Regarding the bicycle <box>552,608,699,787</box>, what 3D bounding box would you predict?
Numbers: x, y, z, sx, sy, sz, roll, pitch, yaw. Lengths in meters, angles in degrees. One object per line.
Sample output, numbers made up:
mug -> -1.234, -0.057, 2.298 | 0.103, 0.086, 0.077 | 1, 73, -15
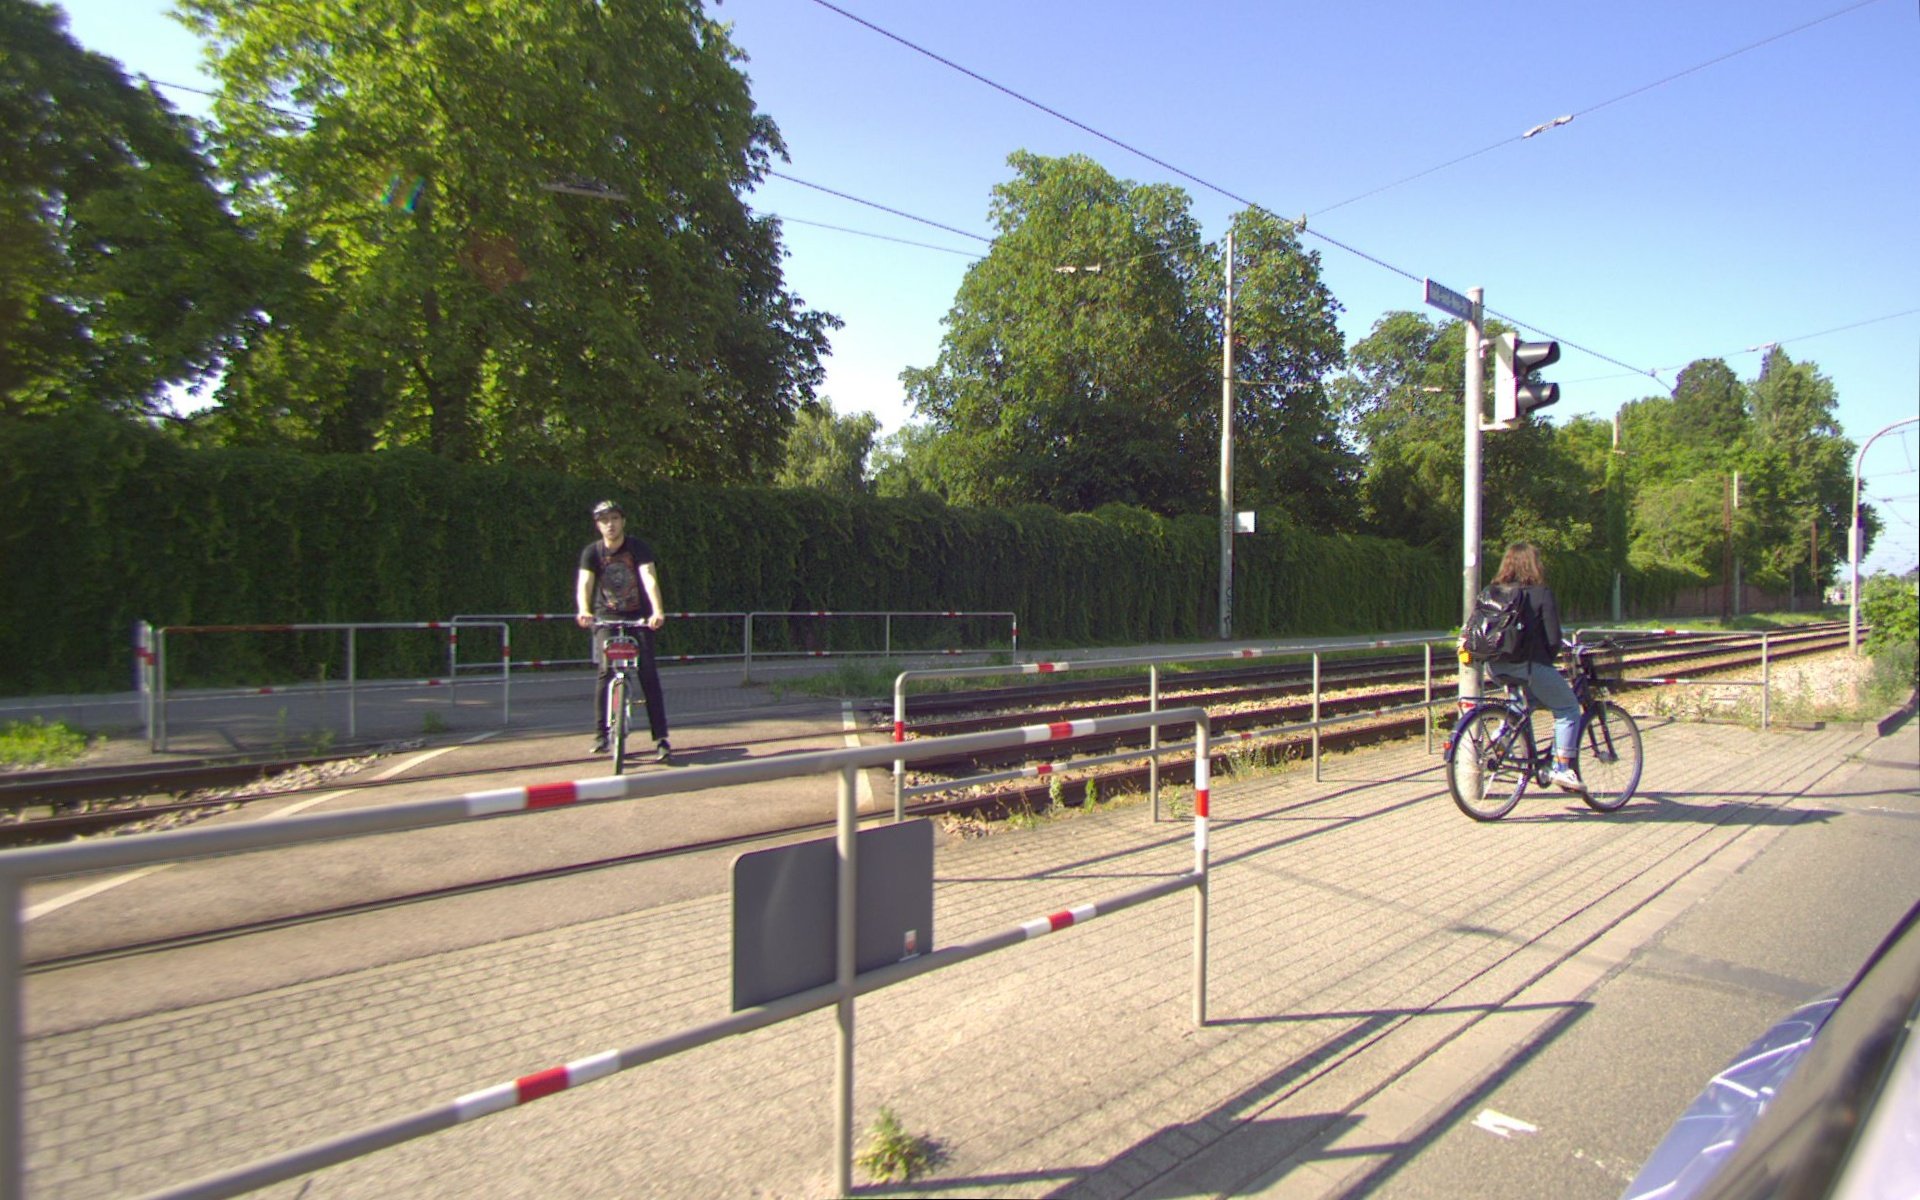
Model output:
bicycle -> -2.501, 0.646, 7.674 | 0.927, 1.129, 1.931 | 0, 1, -17

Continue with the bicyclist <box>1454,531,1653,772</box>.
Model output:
bicyclist -> 3.817, 0.300, 6.519 | 0.991, 1.434, 0.646 | 0, 0, -25

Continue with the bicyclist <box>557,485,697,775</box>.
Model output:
bicyclist -> -2.502, 0.202, 7.668 | 0.927, 2.018, 1.039 | 0, 0, -17

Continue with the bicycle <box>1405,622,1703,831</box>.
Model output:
bicycle -> 3.874, 0.769, 6.579 | 1.896, 1.168, 0.647 | 2, 3, -25
